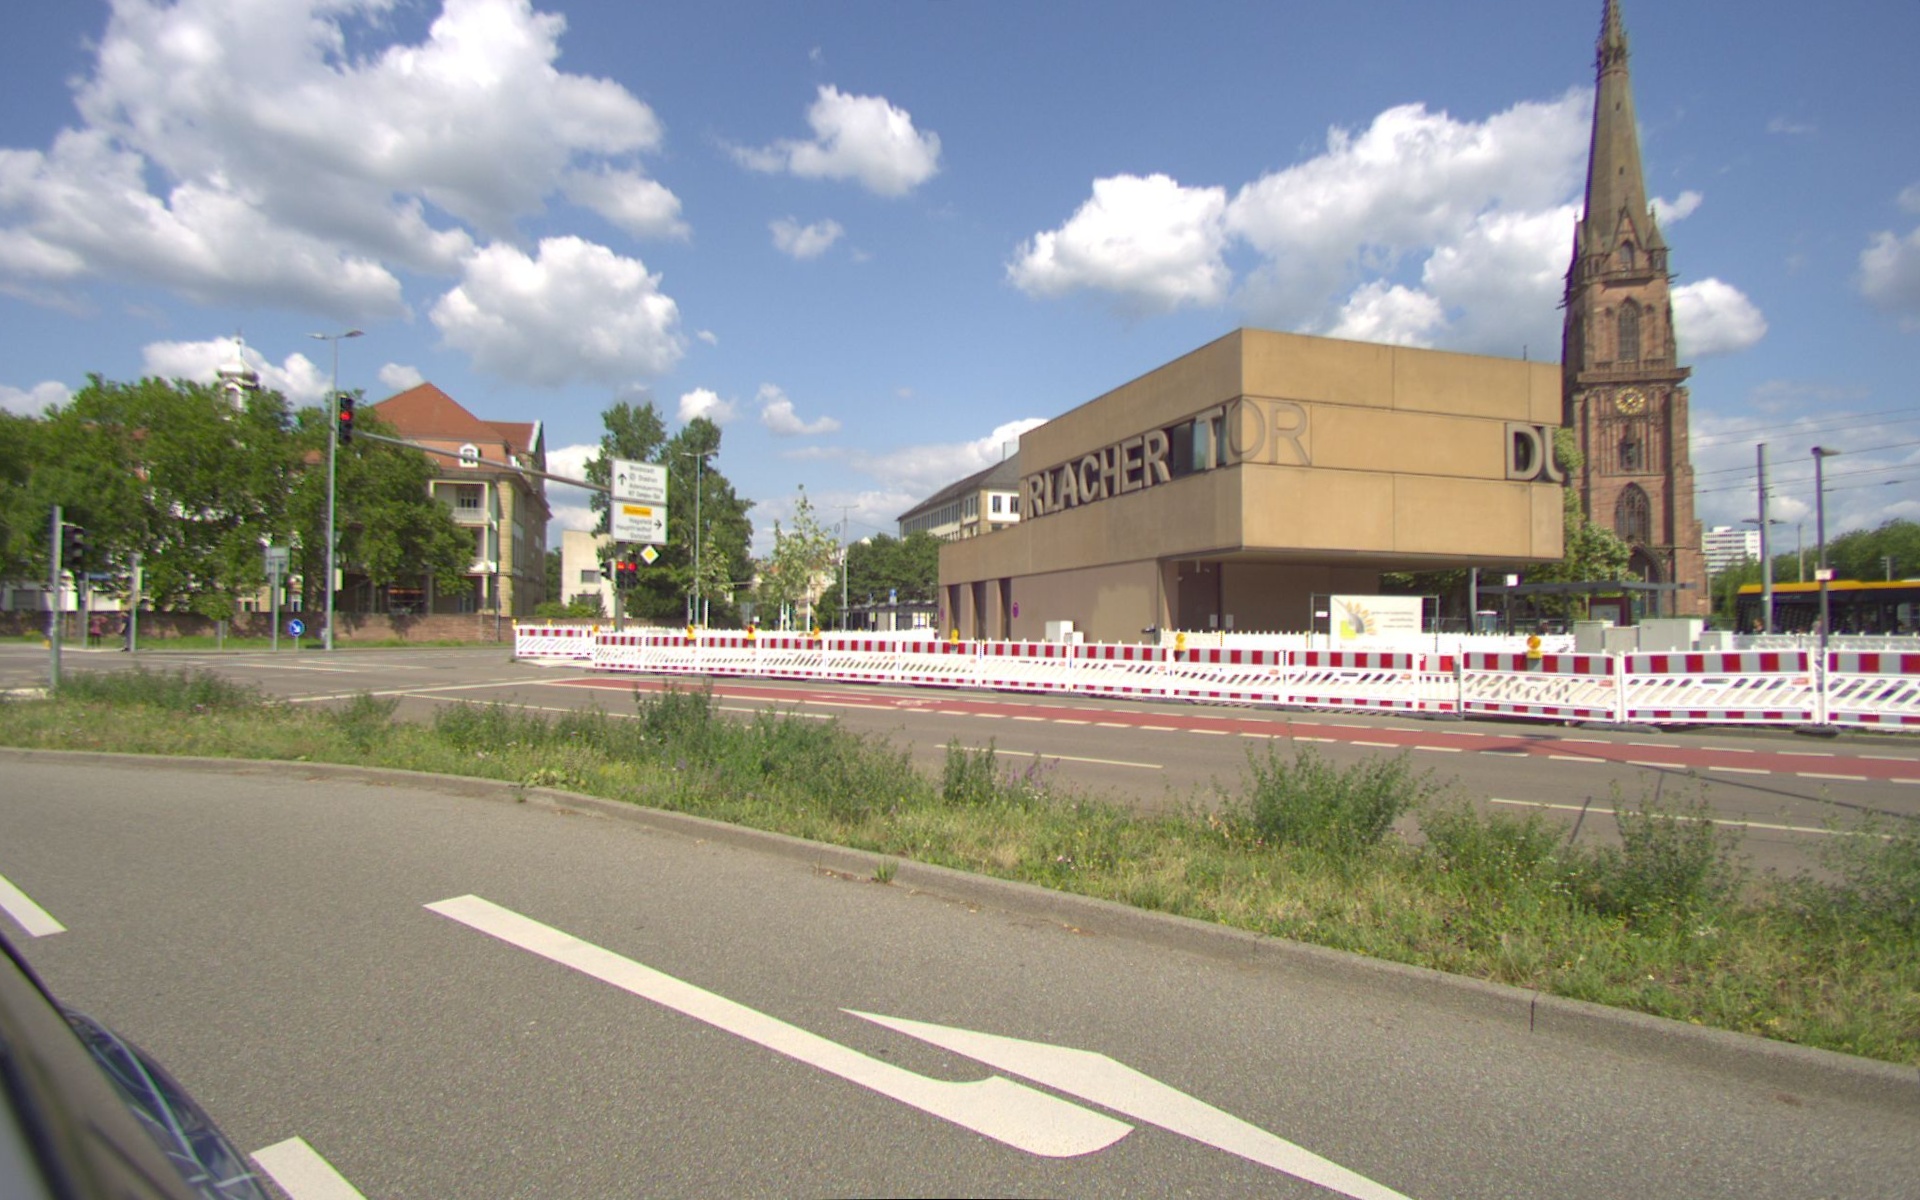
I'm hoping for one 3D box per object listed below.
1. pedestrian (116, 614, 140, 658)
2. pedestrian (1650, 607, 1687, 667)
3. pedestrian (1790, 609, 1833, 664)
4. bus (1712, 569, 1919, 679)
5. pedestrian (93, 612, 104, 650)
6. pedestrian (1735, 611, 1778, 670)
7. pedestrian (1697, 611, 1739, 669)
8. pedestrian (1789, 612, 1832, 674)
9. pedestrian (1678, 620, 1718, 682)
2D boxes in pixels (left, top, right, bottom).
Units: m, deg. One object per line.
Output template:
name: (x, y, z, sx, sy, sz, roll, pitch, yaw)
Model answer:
pedestrian: (-38.356, 1.652, 46.667, 0.616, 2.009, 0.579, -1, 0, 13)
pedestrian: (19.762, 1.031, 28.222, 0.720, 1.642, 0.561, 1, -2, -27)
pedestrian: (26.052, 1.104, 30.960, 0.641, 1.644, 0.768, 1, -2, -23)
bus: (29.272, 0.692, 29.261, 2.786, 3.160, 12.878, 1, -2, -17)
pedestrian: (-40.161, 1.439, 47.175, 0.364, 1.745, 0.451, -1, 0, -43)
pedestrian: (22.734, 1.141, 28.891, 0.752, 1.644, 0.655, 1, -2, -23)
pedestrian: (21.713, 1.146, 28.997, 0.752, 1.644, 0.655, 1, -2, -24)
pedestrian: (22.772, 1.138, 27.091, 0.753, 1.644, 0.654, 1, -2, -32)
pedestrian: (19.765, 1.353, 27.116, 0.763, 1.644, 0.646, -1, -2, 30)
